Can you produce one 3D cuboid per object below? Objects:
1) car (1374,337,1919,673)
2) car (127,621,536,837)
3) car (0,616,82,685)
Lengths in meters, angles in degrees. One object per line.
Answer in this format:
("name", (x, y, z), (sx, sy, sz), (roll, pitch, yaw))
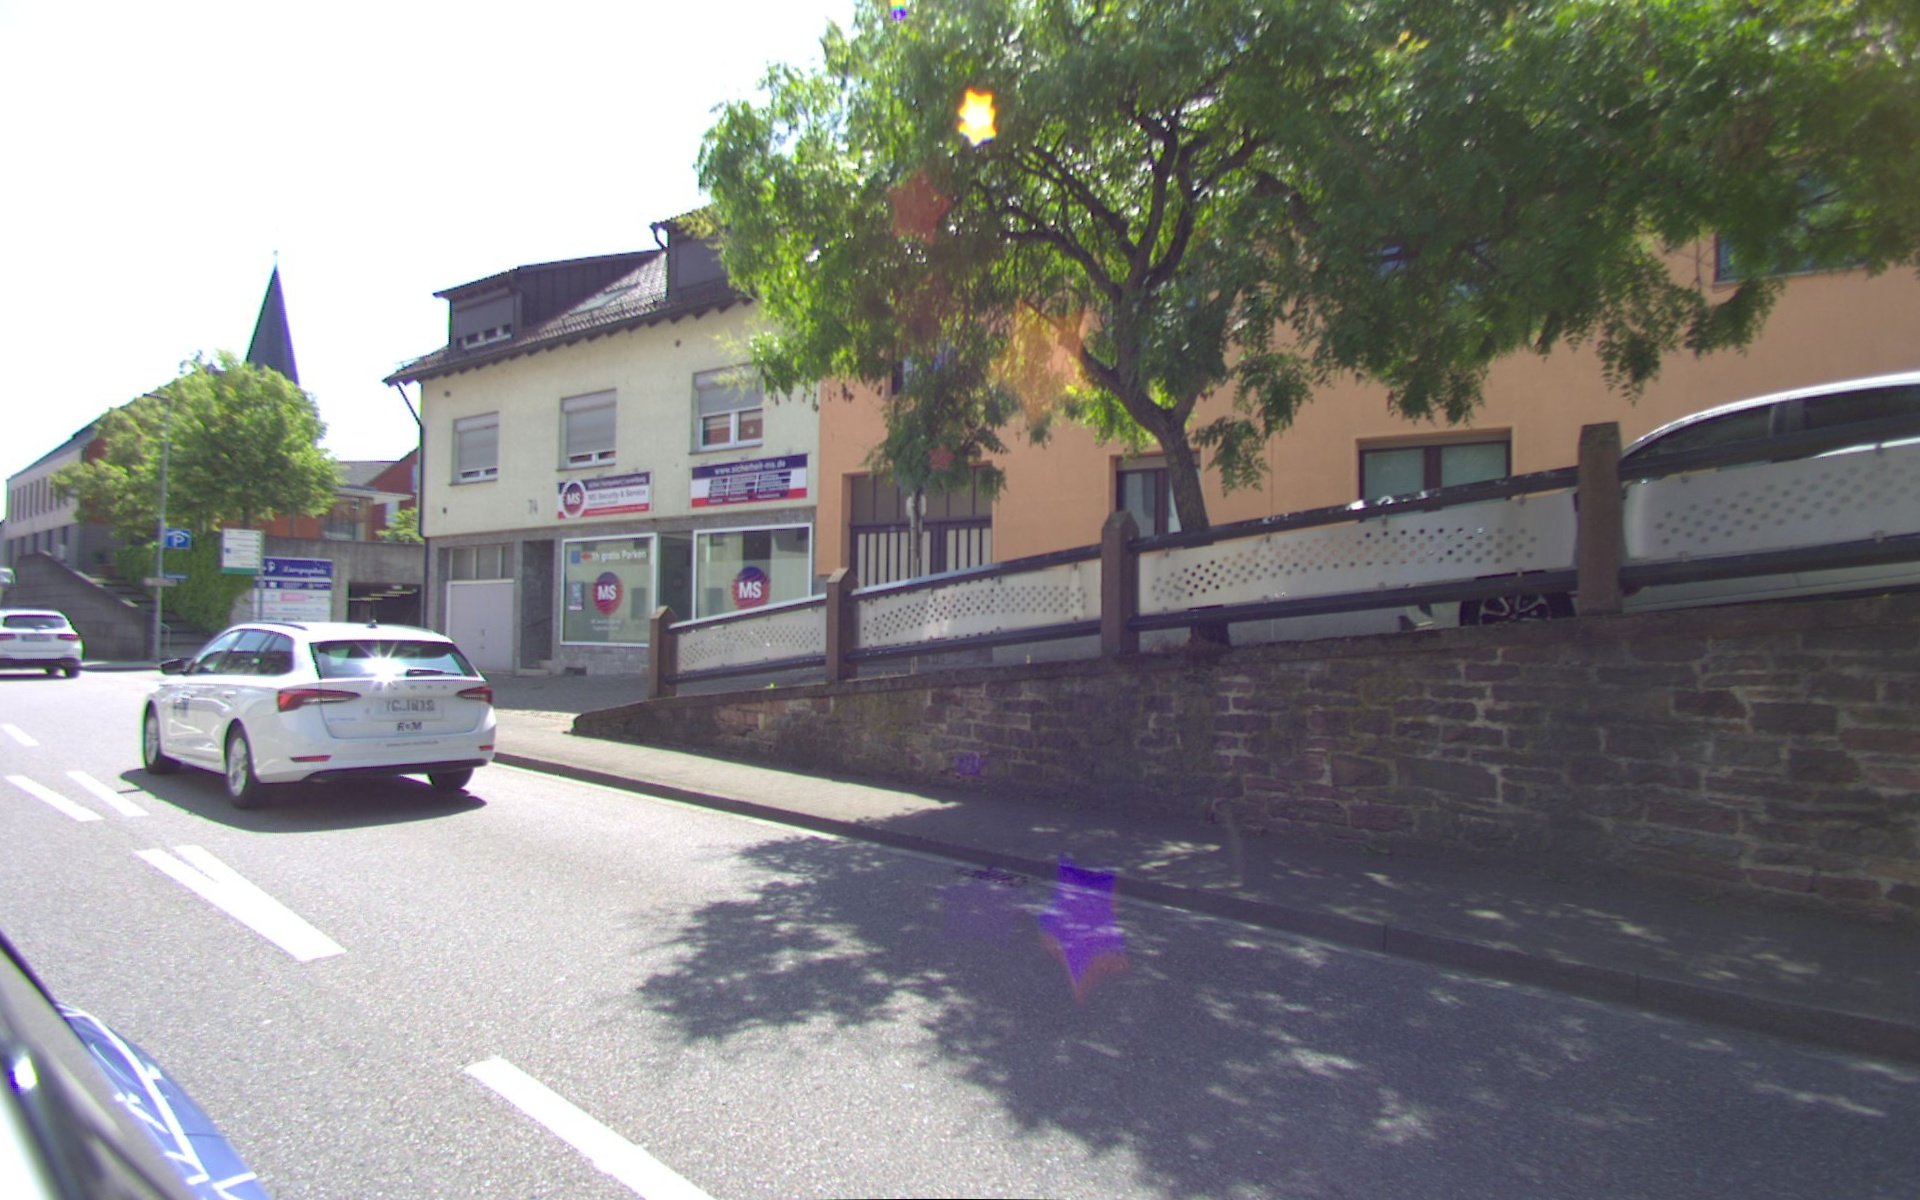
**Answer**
("car", (4.917, -0.489, 6.373), (3.849, 1.555, 1.677), (-8, -6, 37))
("car", (-5.745, 0.946, 9.020), (4.427, 1.458, 1.794), (-1, -3, 40))
("car", (-23.406, 1.209, 25.090), (4.443, 1.592, 1.823), (-1, -3, 41))
